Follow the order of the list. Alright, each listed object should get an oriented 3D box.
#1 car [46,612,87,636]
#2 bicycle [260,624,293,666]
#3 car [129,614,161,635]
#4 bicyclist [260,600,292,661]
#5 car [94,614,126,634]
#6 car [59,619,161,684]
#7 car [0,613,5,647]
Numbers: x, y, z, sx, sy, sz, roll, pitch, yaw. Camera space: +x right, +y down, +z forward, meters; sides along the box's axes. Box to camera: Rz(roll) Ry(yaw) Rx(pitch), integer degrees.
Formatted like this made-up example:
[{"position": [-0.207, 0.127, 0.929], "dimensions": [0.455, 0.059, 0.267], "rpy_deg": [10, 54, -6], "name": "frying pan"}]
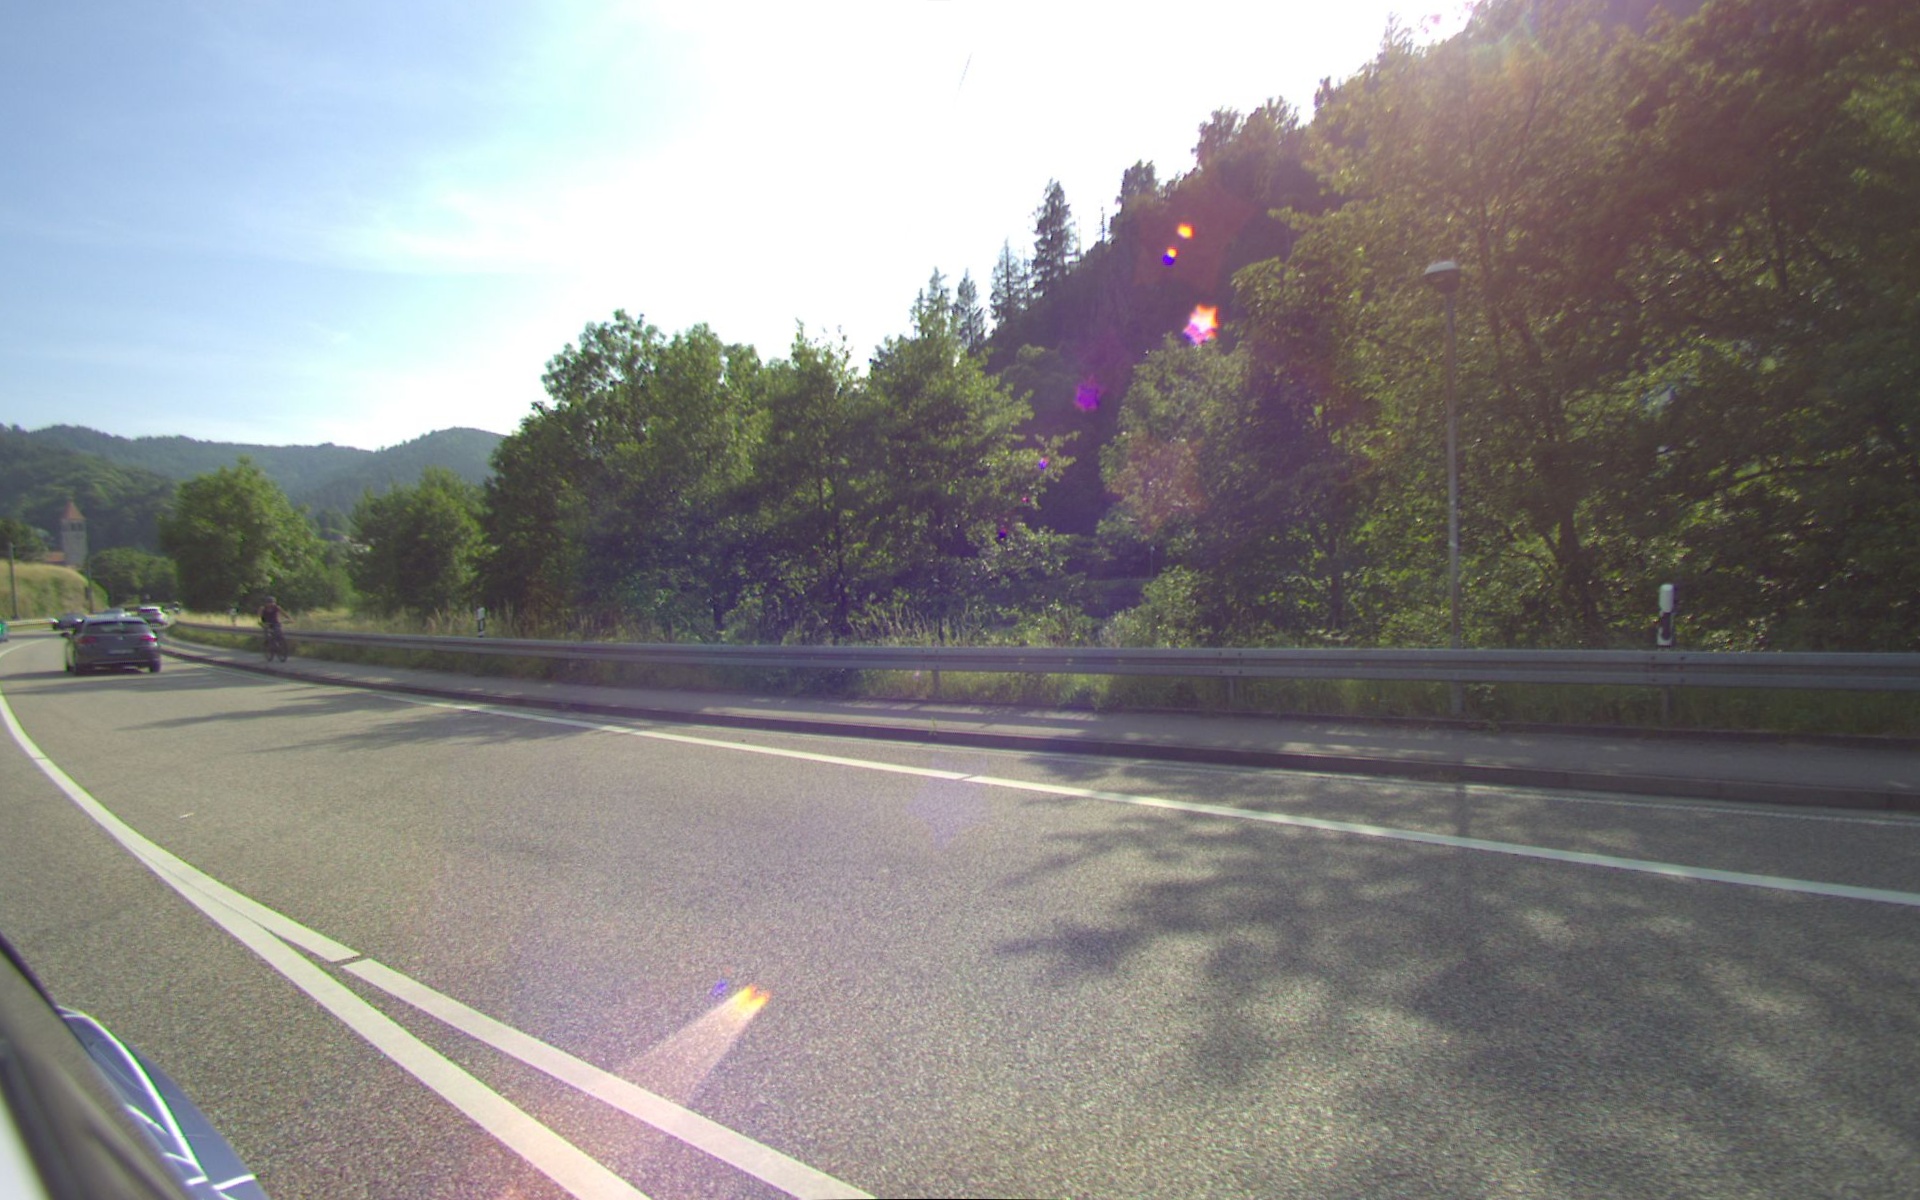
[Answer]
[{"position": [-67.634, 1.799, 76.631], "dimensions": [1.855, 1.758, 4.189], "rpy_deg": [-1, 0, -35], "name": "car"}, {"position": [-18.734, 1.224, 27.704], "dimensions": [0.550, 1.053, 2.234], "rpy_deg": [-6, 2, -37], "name": "bicycle"}, {"position": [-68.106, 2.022, 84.515], "dimensions": [1.969, 1.641, 4.006], "rpy_deg": [0, 0, -41], "name": "car"}, {"position": [-18.752, 0.824, 27.735], "dimensions": [0.550, 1.598, 1.038], "rpy_deg": [-6, 2, -37], "name": "bicyclist"}, {"position": [-77.924, 2.210, 92.805], "dimensions": [1.855, 1.758, 4.189], "rpy_deg": [-1, 0, -35], "name": "car"}, {"position": [-22.350, 1.293, 26.560], "dimensions": [1.868, 1.500, 4.004], "rpy_deg": [-1, 0, -43], "name": "car"}, {"position": [-50.732, 1.579, 52.219], "dimensions": [1.857, 1.758, 4.186], "rpy_deg": [0, -1, -40], "name": "car"}]
